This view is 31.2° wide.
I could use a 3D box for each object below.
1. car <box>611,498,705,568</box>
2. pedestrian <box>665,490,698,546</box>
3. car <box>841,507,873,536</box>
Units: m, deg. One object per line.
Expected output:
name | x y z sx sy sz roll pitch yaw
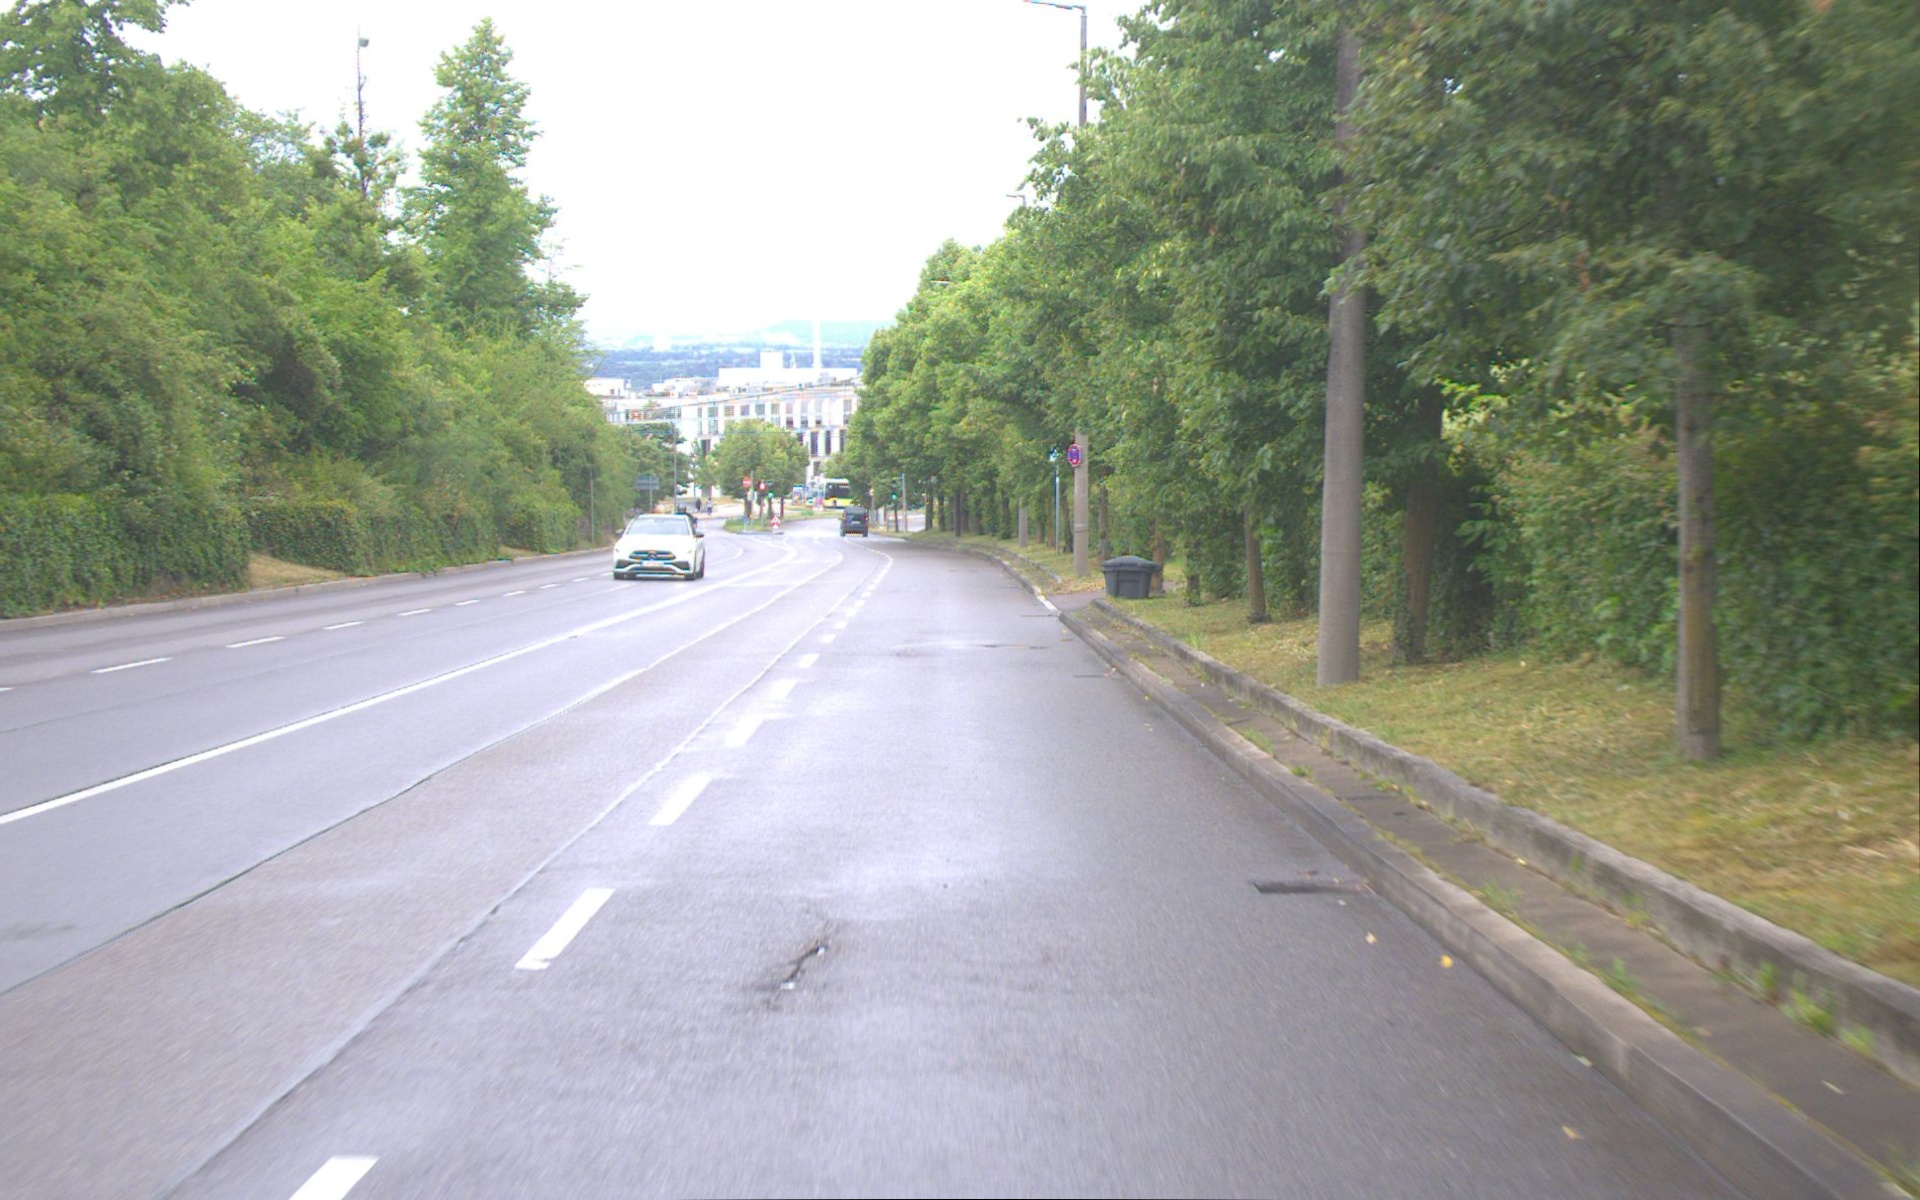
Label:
car | -6.833 -1.538 78.204 1.715 1.500 4.517 2 2 0
pedestrian | -7.746 -2.284 95.571 0.805 1.536 1.111 1 1 0
car | -6.464 -4.947 215.923 1.849 1.696 3.793 2 0 -3
